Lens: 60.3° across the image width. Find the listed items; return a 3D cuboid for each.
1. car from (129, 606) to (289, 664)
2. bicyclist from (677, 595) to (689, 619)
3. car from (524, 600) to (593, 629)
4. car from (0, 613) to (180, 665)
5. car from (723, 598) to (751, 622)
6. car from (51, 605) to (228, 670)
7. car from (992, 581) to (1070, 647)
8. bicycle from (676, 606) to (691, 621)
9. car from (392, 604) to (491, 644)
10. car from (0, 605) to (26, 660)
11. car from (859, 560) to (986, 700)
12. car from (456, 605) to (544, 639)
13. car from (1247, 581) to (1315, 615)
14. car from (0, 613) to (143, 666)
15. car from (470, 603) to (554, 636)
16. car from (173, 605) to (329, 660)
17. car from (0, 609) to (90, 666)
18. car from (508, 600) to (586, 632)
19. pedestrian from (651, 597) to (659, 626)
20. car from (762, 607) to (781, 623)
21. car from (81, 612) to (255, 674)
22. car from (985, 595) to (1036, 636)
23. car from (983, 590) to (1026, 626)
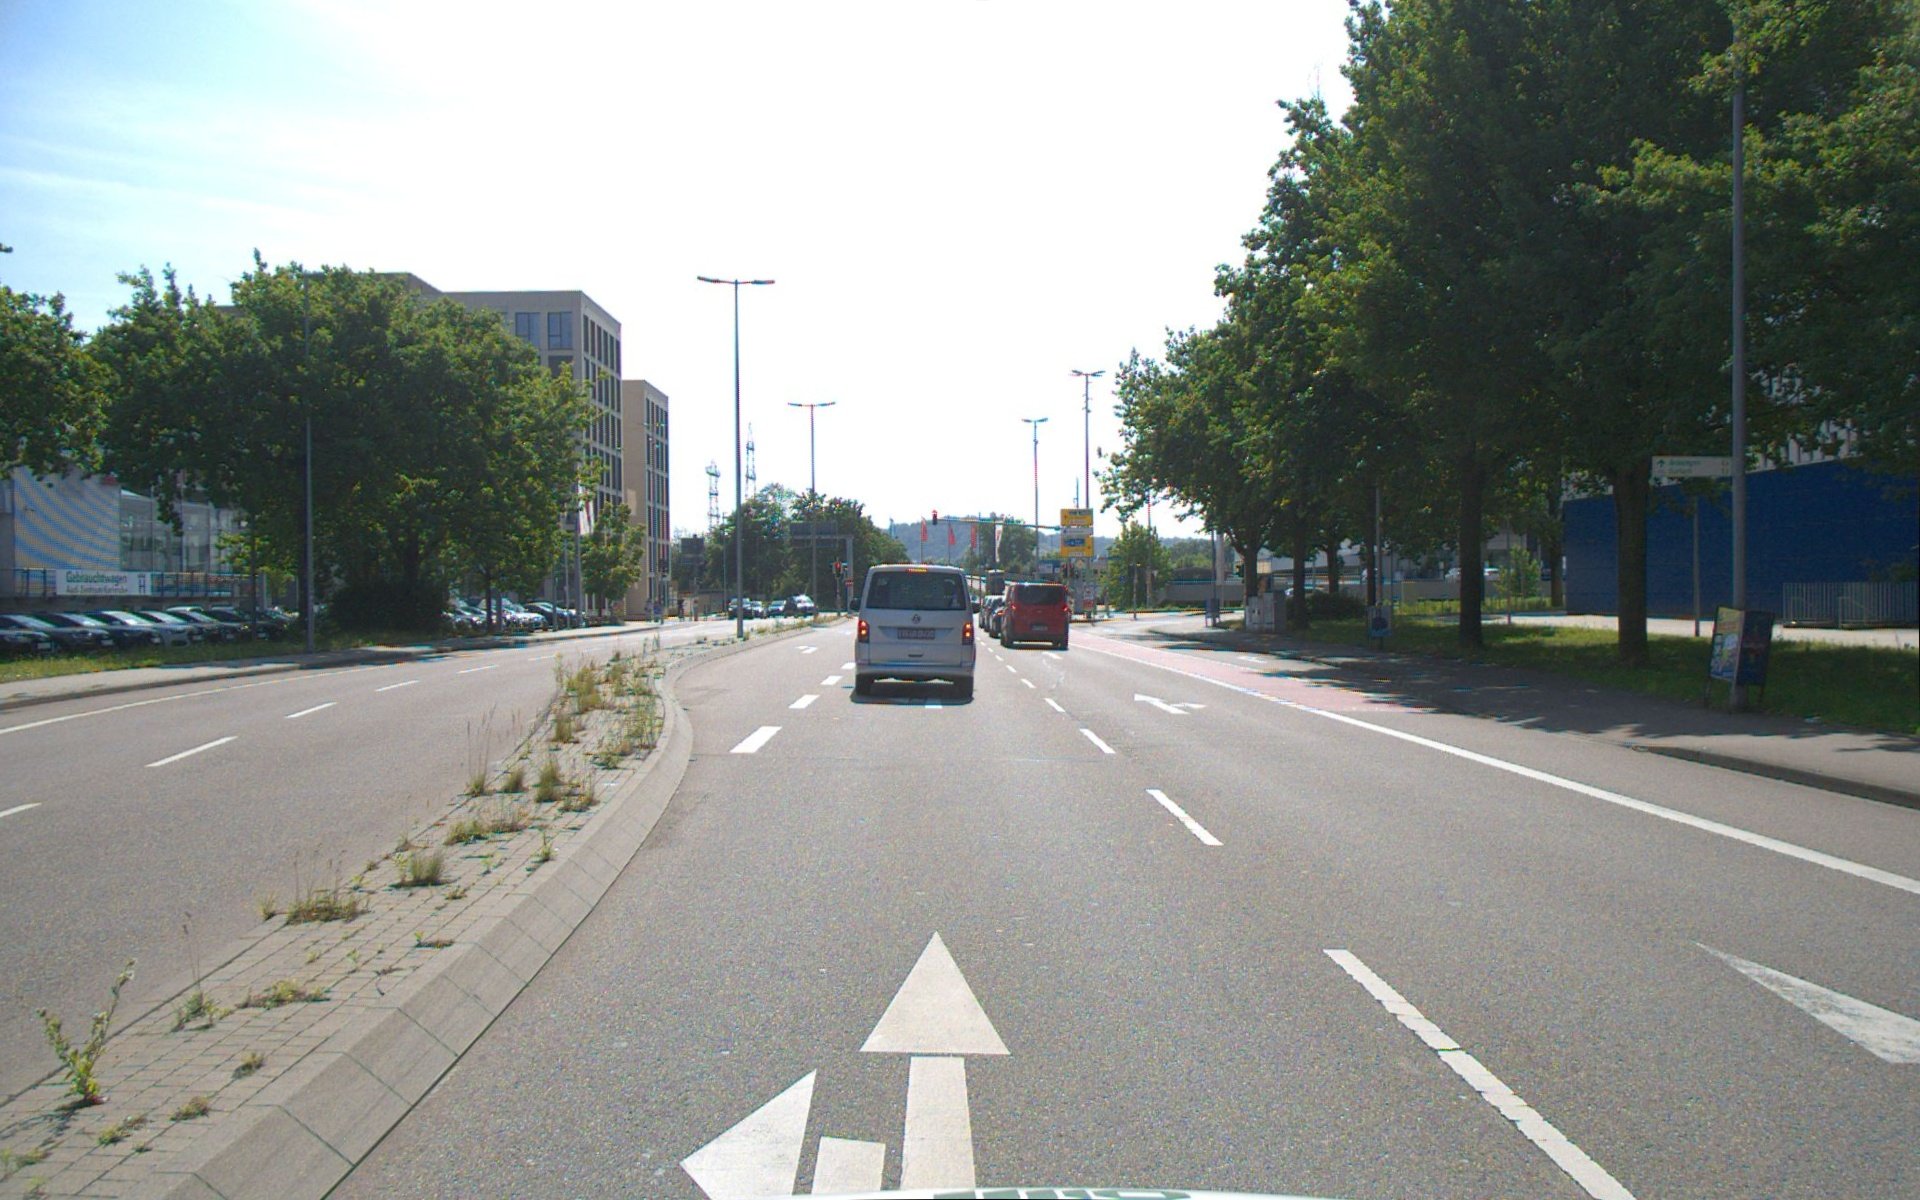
[{"bbox_3d":[-23.698,1.078,52.287,4.056,1.467,2.000,-5,0,-1],"label":"car"},{"bbox_3d":[-18.823,0.474,112.517,0.606,1.553,1.036,-2,0,0],"label":"bicyclist"},{"bbox_3d":[-23.265,0.852,95.979,3.521,1.381,1.640,-4,1,0],"label":"car"},{"bbox_3d":[-23.218,1.028,44.020,4.027,1.052,1.696,-4,0,-3],"label":"car"},{"bbox_3d":[-16.801,0.756,124.657,1.704,1.646,4.206,-3,0,-3],"label":"car"},{"bbox_3d":[-23.220,1.043,46.920,3.907,1.467,2.000,-5,0,-1],"label":"car"},{"bbox_3d":[2.220,0.423,52.891,1.929,2.002,5.121,1,0,-4],"label":"car"},{"bbox_3d":[-18.820,0.916,112.418,0.666,0.957,1.973,-2,0,0],"label":"bicycle"},{"bbox_3d":[-23.193,1.065,74.004,3.794,1.444,1.660,-4,1,2],"label":"car"},{"bbox_3d":[-23.265,0.876,36.515,4.091,1.211,1.954,-4,0,-3],"label":"car"},{"bbox_3d":[-0.585,0.432,26.246,1.846,2.025,3.999,1,0,-1],"label":"car"},{"bbox_3d":[-23.097,1.108,83.102,3.794,1.356,1.849,-4,1,2],"label":"car"},{"bbox_3d":[21.951,-0.139,113.147,4.310,2.029,1.481,-3,0,3],"label":"car"},{"bbox_3d":[-23.368,1.036,42.095,4.091,1.096,1.954,-4,0,-3],"label":"car"},{"bbox_3d":[-23.179,1.008,85.631,3.794,1.388,1.749,-4,1,2],"label":"car"},{"bbox_3d":[-23.557,1.062,55.106,4.218,1.467,2.051,-5,0,-2],"label":"car"},{"bbox_3d":[-23.386,0.994,39.518,4.091,1.211,1.954,-4,0,-3],"label":"car"},{"bbox_3d":[-23.367,0.872,93.662,3.795,1.490,1.868,-4,1,0],"label":"car"},{"bbox_3d":[-21.802,0.841,118.338,0.548,2.049,0.575,1,0,-9],"label":"pedestrian"},{"bbox_3d":[-17.545,1.414,154.138,1.545,1.434,4.376,-1,0,-3],"label":"car"},{"bbox_3d":[-23.681,1.268,49.580,4.163,1.467,2.000,-5,0,-1],"label":"car"},{"bbox_3d":[1.882,0.566,62.833,1.711,1.484,4.475,1,0,-1],"label":"car"},{"bbox_3d":[1.958,0.339,73.506,1.711,1.543,4.077,1,0,-1],"label":"car"}]
